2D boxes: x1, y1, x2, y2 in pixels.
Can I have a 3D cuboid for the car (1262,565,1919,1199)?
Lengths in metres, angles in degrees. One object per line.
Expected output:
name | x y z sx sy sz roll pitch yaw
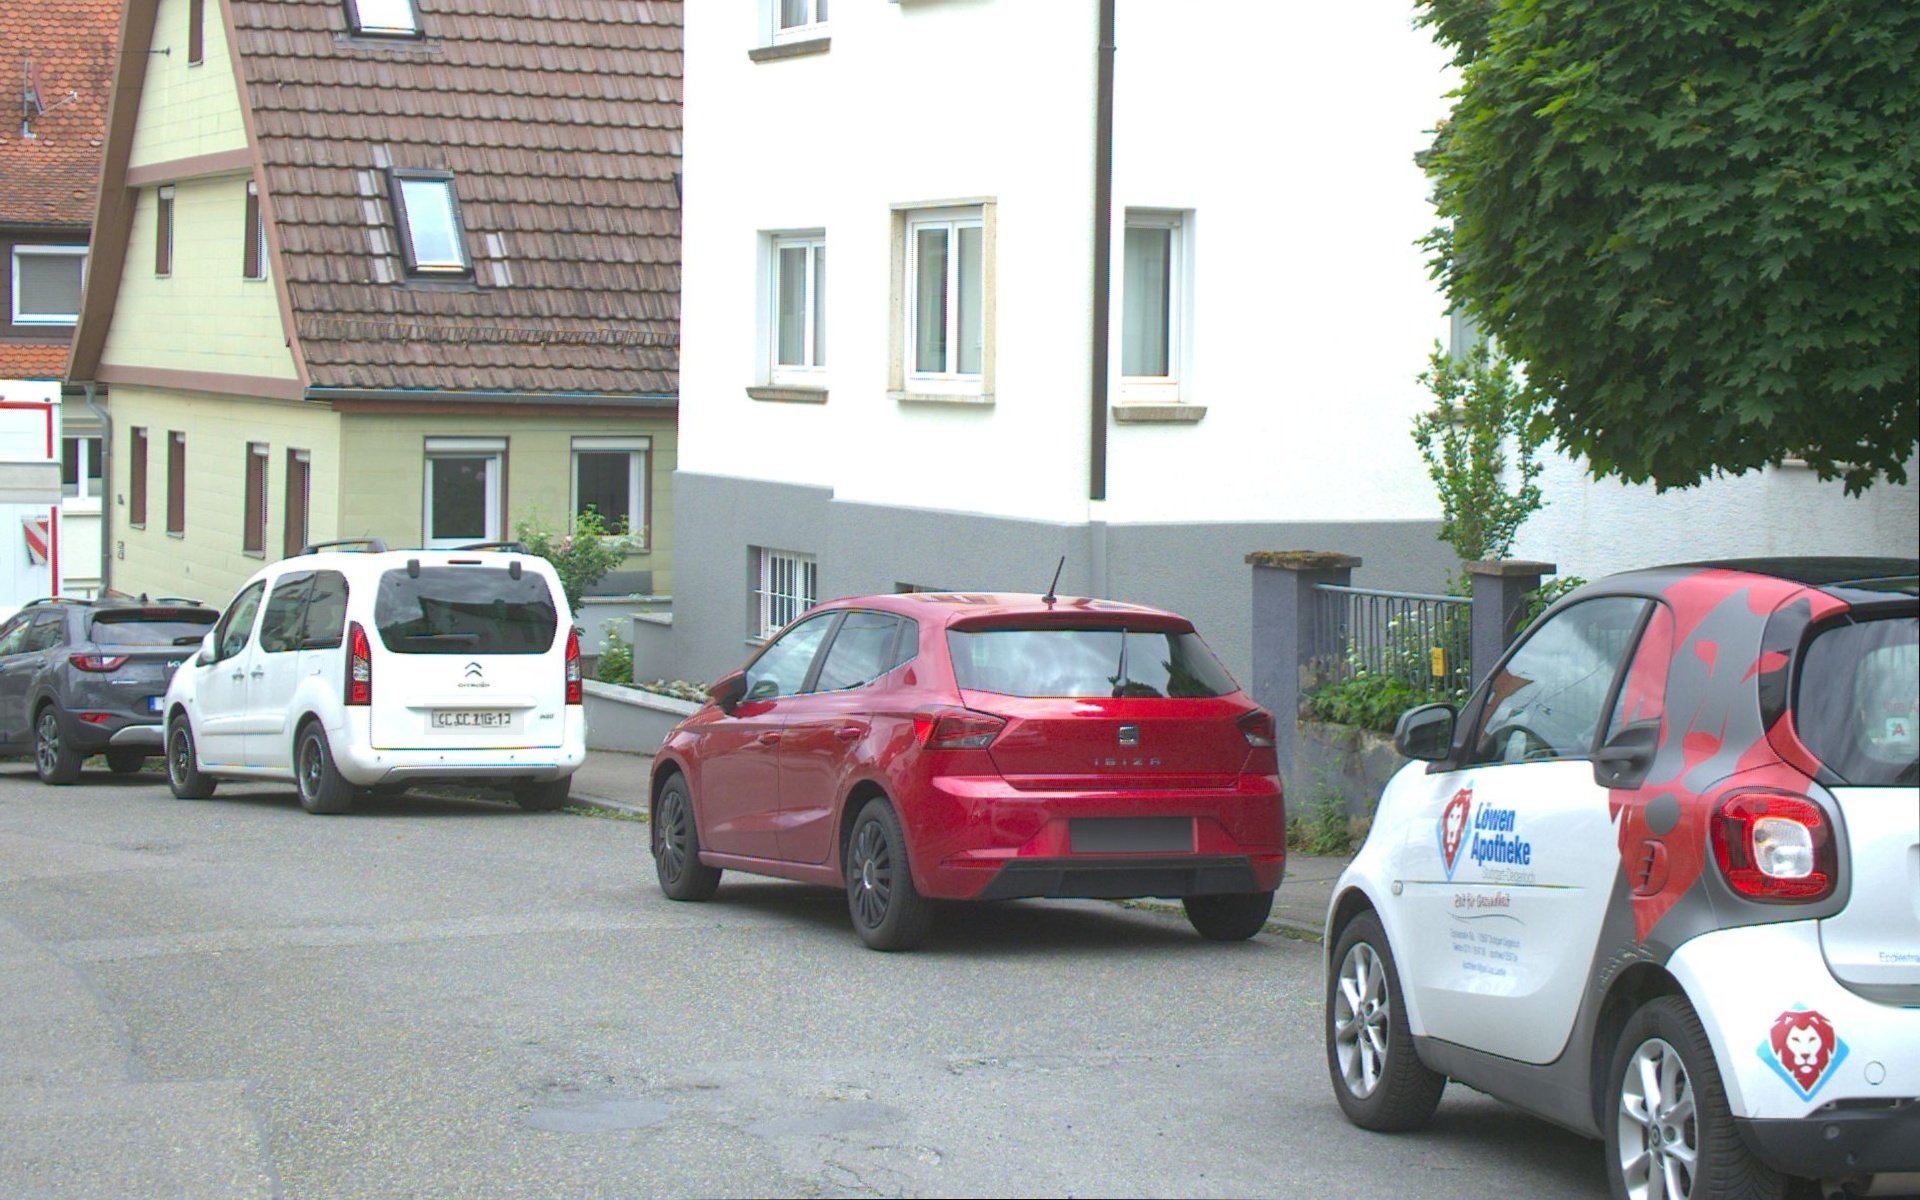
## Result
car | 2.008 0.717 8.530 1.611 1.527 2.898 3 0 -13

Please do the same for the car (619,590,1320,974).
car | -0.106 0.698 15.059 1.678 1.447 3.853 0 0 -23

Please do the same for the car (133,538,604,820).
car | -4.283 0.520 24.332 1.835 1.808 4.304 1 0 -31

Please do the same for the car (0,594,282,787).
car | -7.322 0.745 28.914 1.733 1.501 4.050 1 -1 -34

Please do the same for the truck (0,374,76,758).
truck | -11.832 -0.297 35.019 2.676 3.585 8.104 -1 0 -36
